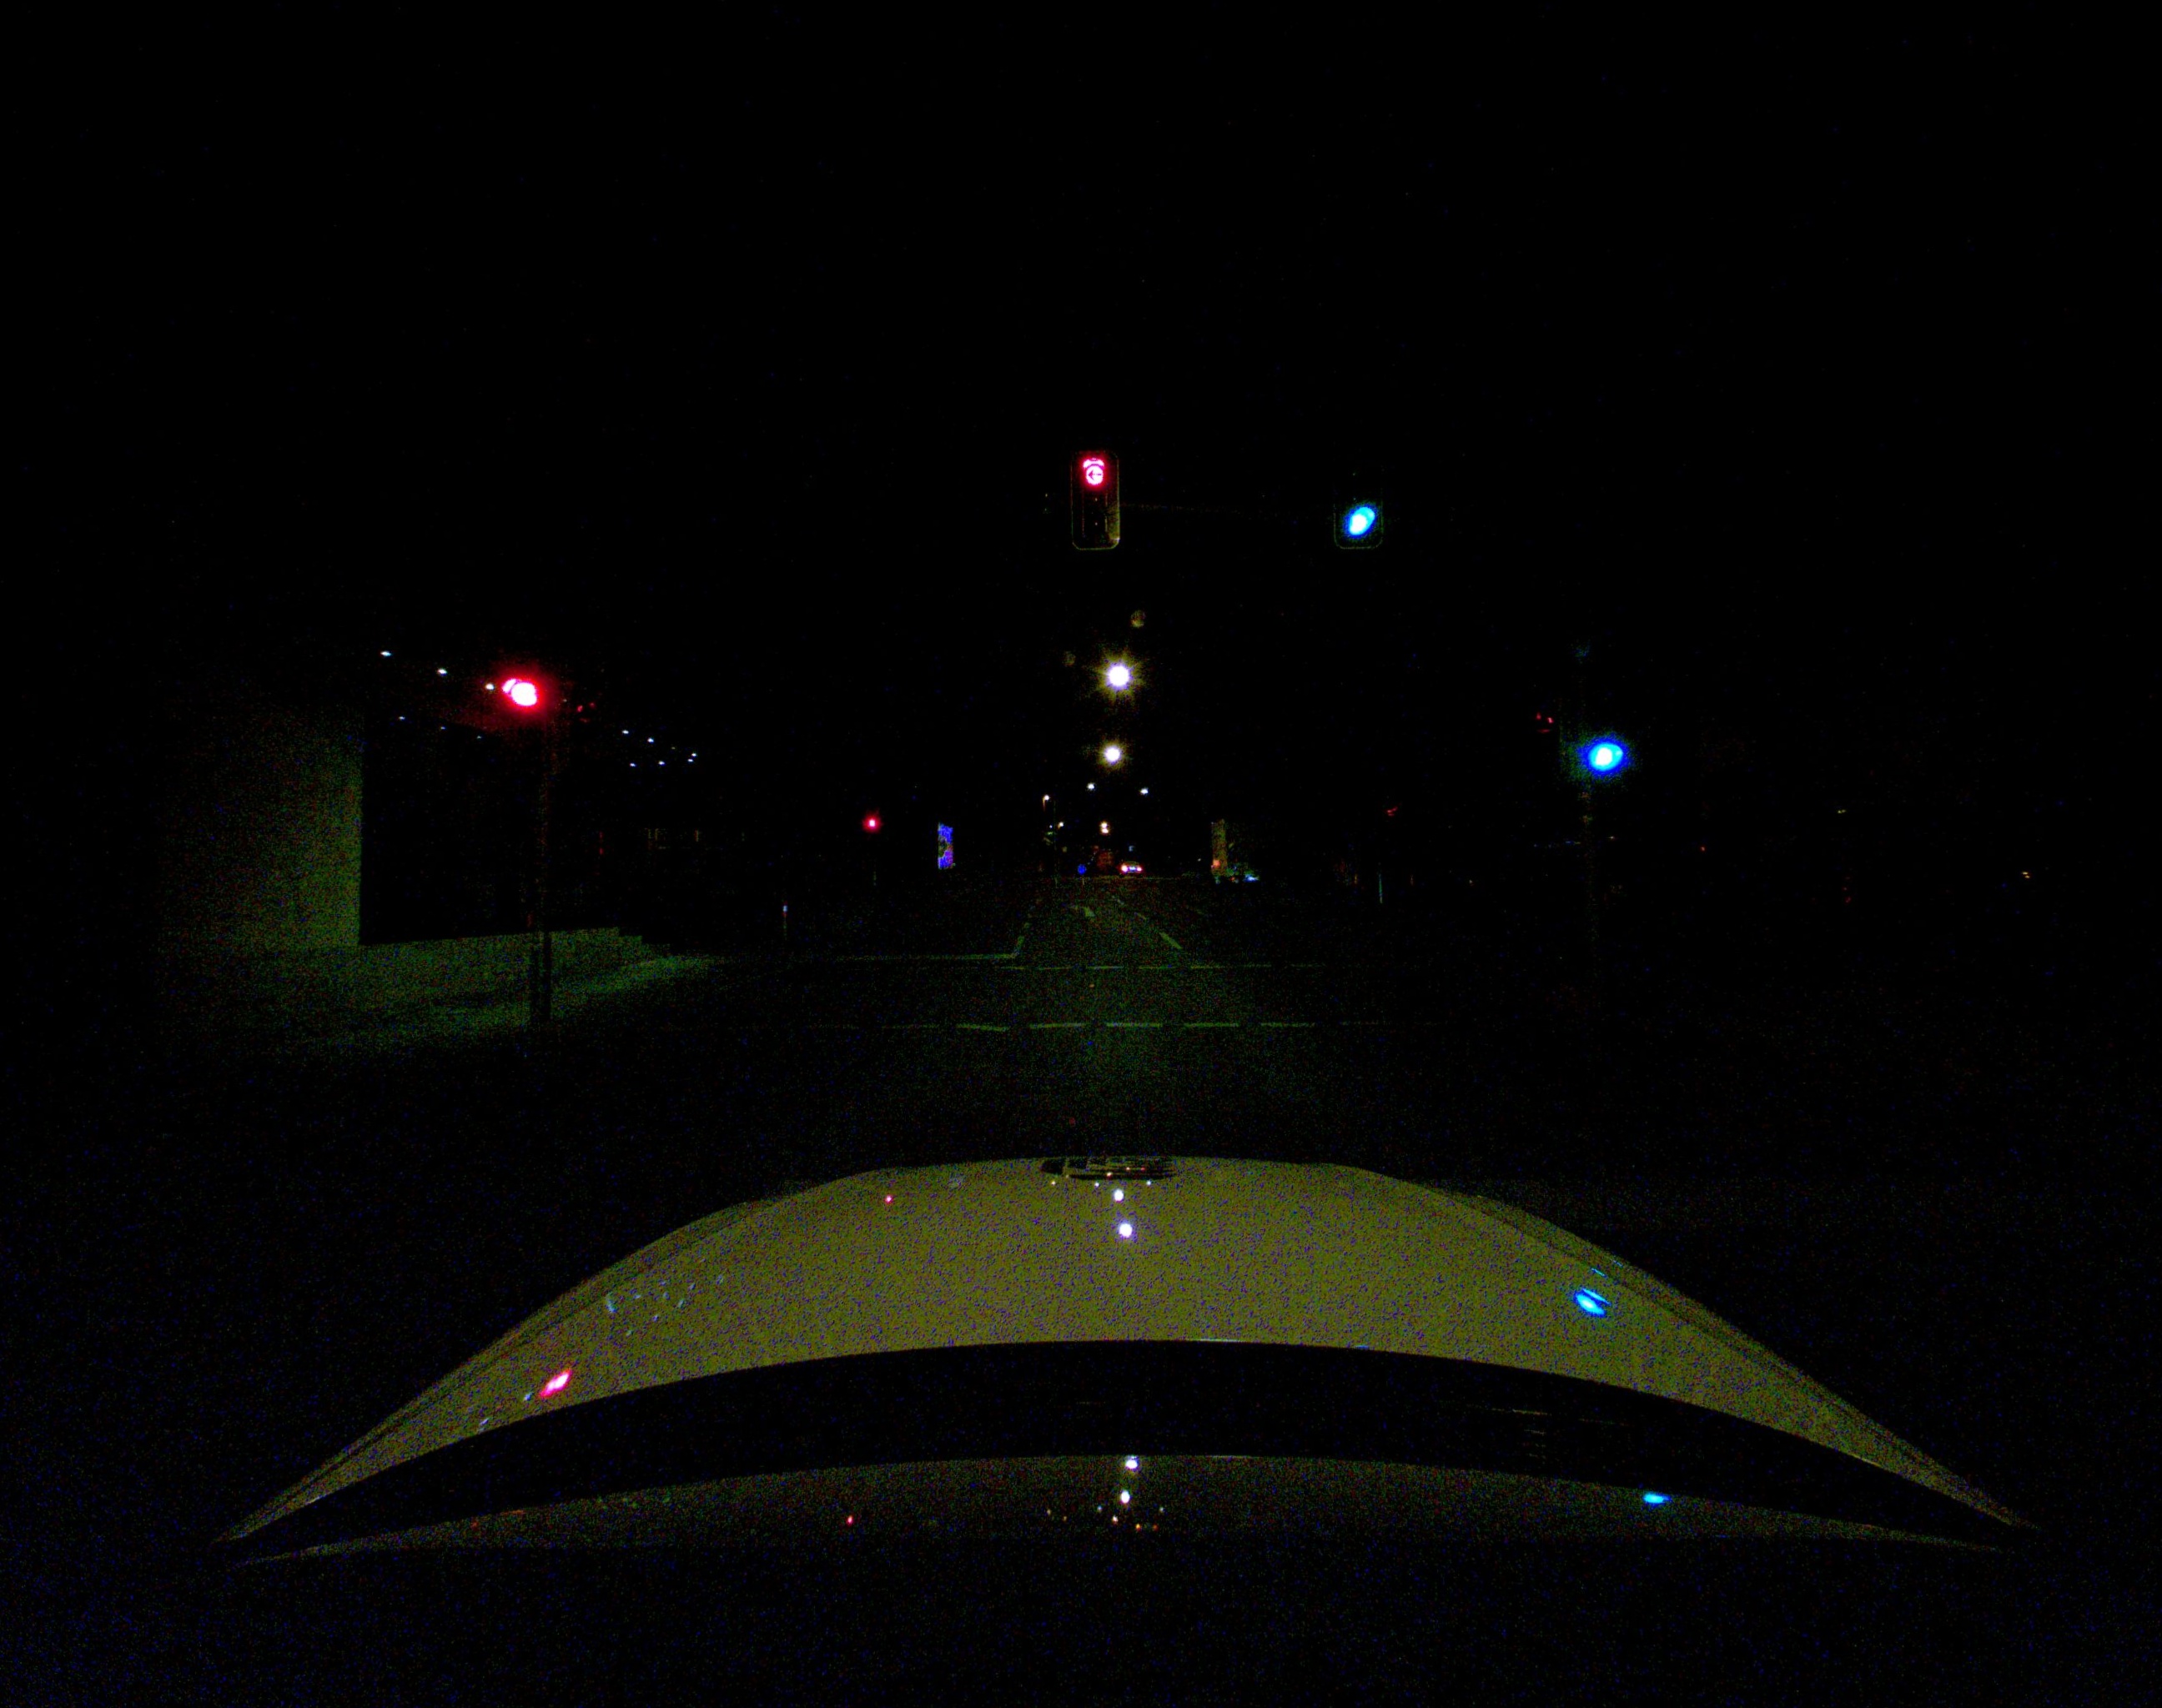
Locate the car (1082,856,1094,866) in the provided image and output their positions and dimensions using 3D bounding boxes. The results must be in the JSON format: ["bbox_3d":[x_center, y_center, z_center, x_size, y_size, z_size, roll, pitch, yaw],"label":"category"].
[{"bbox_3d":[1.244,1.180,134.596,1.901,1.557,3.906,0,-1,2],"label":"car"}]

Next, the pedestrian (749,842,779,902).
[{"bbox_3d":[-9.641,0.533,24.781,0.568,1.778,0.737,1,-1,1],"label":"pedestrian"}]

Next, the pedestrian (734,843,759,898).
[{"bbox_3d":[-10.629,0.526,25.866,0.568,1.731,0.544,0,-1,1],"label":"pedestrian"}]

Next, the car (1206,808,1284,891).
[{"bbox_3d":[6.758,-0.151,34.220,2.287,3.093,5.845,-2,-1,3],"label":"car"}]

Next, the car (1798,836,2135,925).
[{"bbox_3d":[17.456,0.560,16.289,4.342,1.560,1.807,-2,-3,8],"label":"car"}]

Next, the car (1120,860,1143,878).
[{"bbox_3d":[4.409,1.304,71.407,1.770,1.486,3.999,0,-1,0],"label":"car"}]
